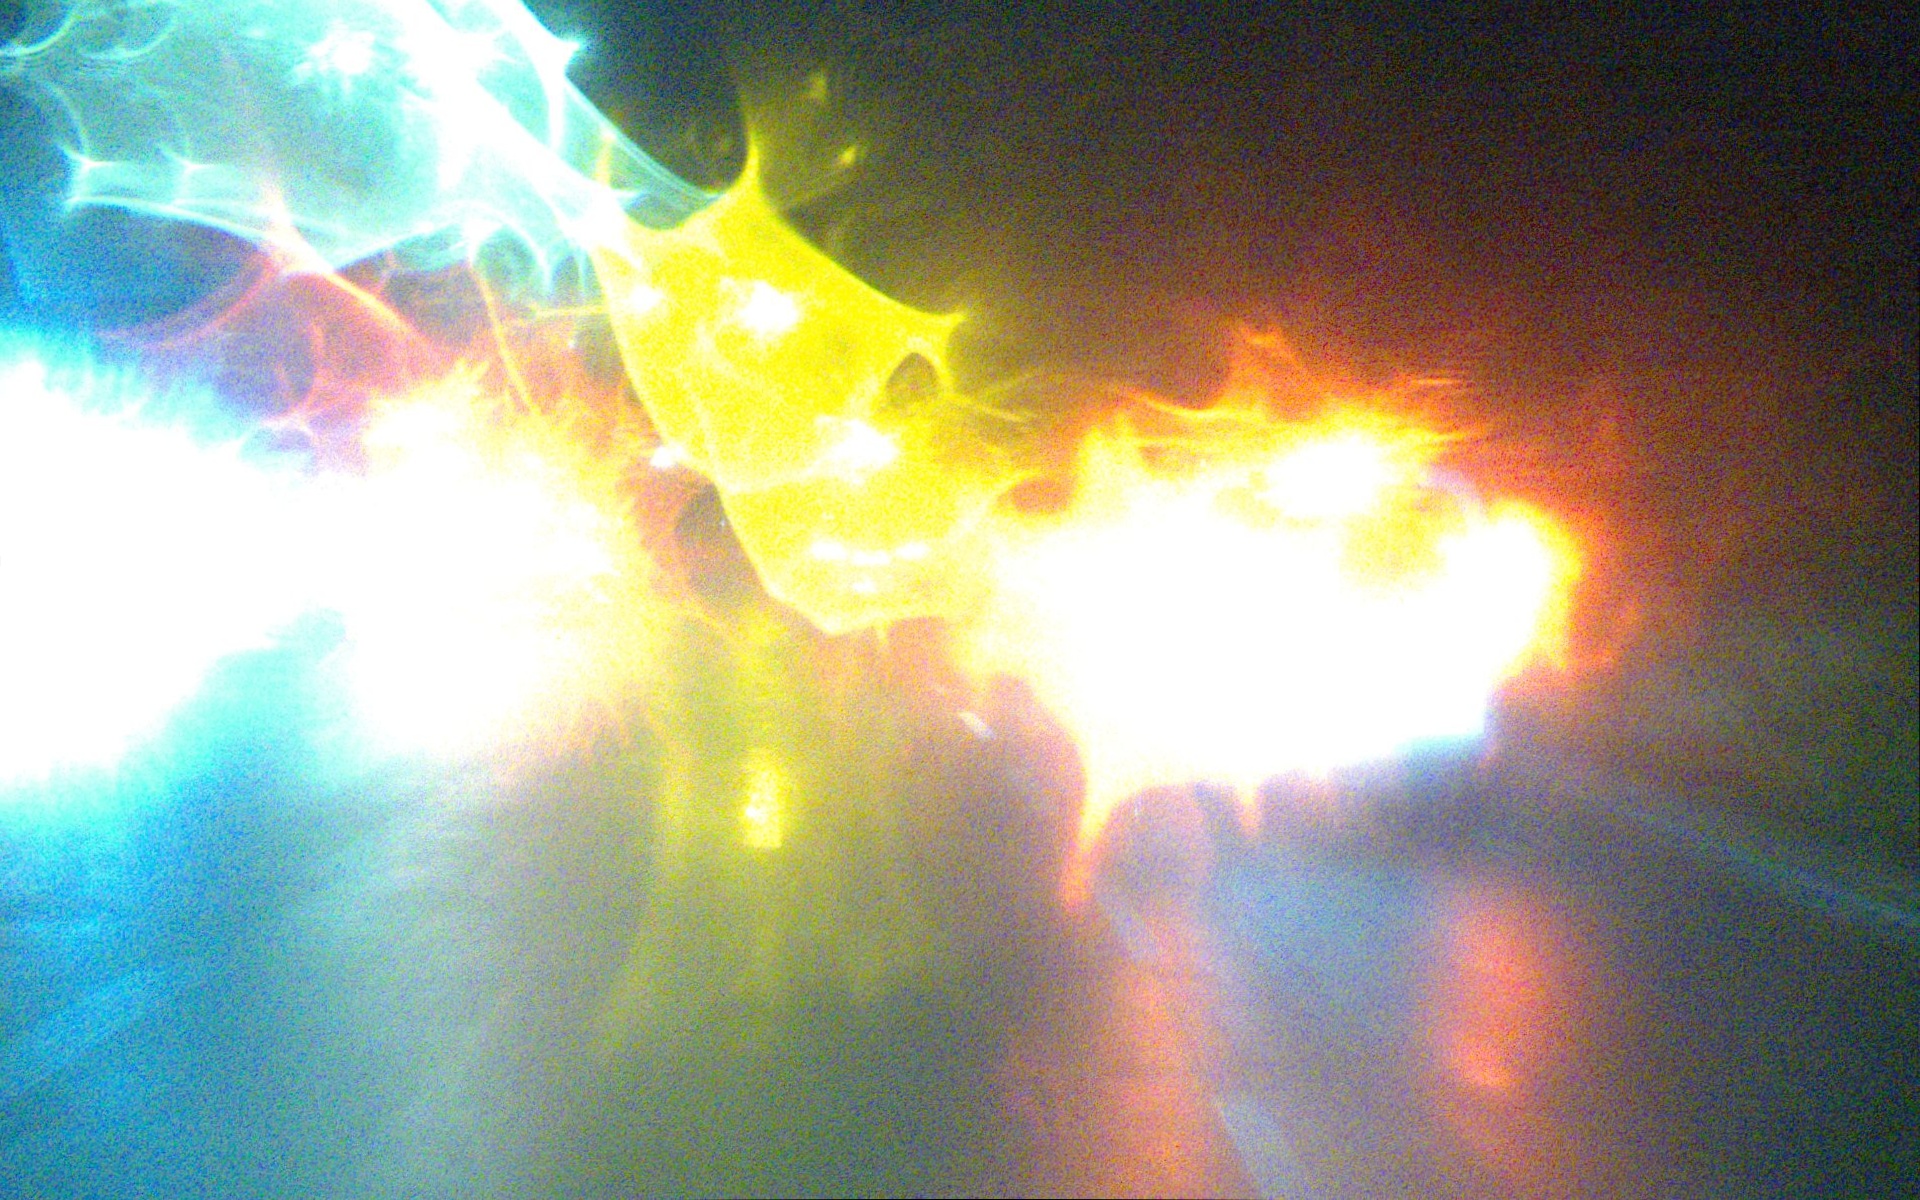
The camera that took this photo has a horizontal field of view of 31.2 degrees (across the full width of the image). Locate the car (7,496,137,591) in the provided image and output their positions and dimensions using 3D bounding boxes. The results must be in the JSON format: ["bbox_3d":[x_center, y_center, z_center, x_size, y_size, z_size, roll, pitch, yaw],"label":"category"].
[{"bbox_3d":[-16.307,-1.064,63.331,1.761,1.636,4.654,2,1,-8],"label":"car"}]

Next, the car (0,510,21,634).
[{"bbox_3d":[-13.284,-0.397,44.601,1.801,1.582,4.032,1,1,-11],"label":"car"}]

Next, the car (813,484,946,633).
[{"bbox_3d":[-1.118,-0.631,49.144,1.791,2.015,4.580,0,2,-1],"label":"car"}]

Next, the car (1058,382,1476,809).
[{"bbox_3d":[1.520,-0.088,18.593,1.791,2.015,4.580,0,2,-1],"label":"car"}]

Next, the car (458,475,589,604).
[{"bbox_3d":[-6.271,-0.899,49.538,1.783,1.776,4.437,0,2,-7],"label":"car"}]
